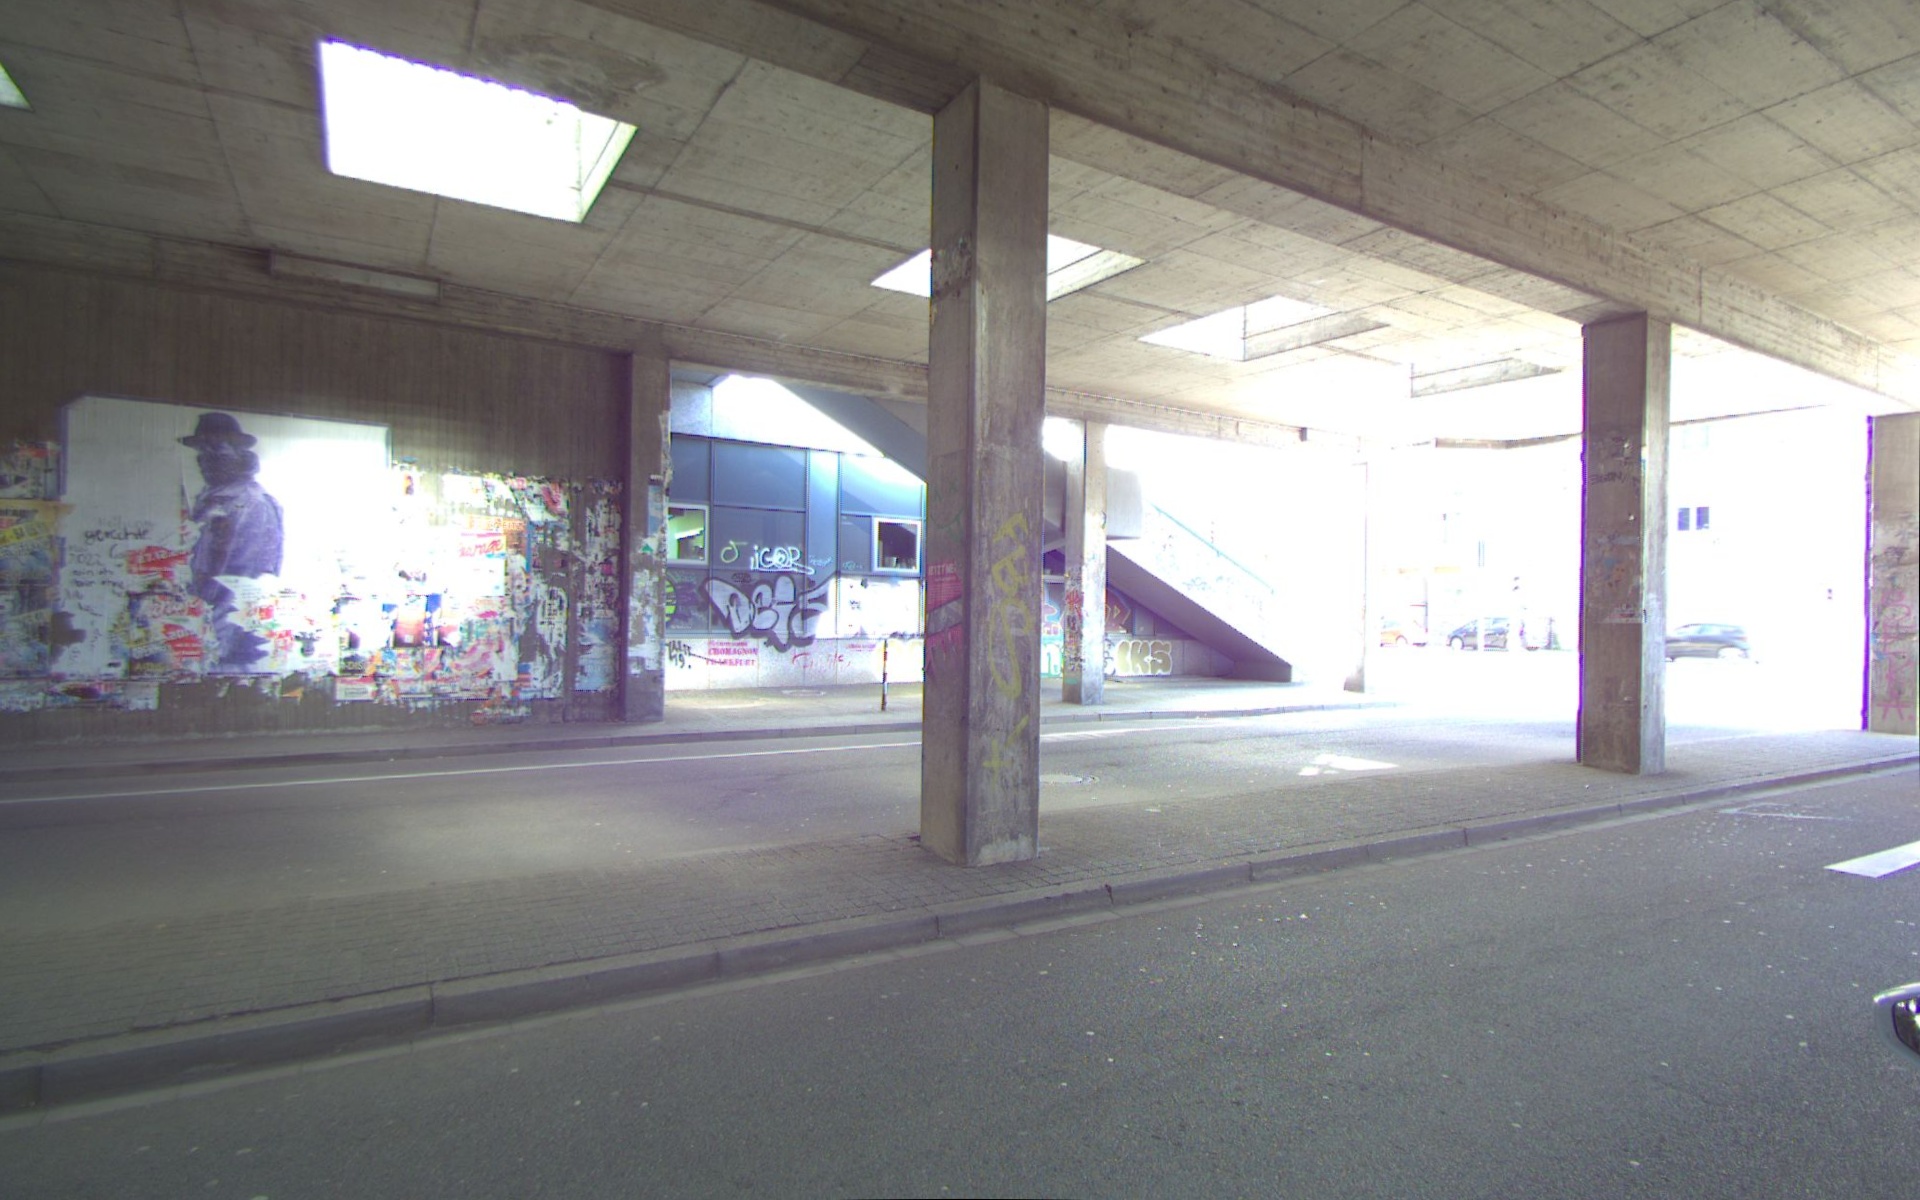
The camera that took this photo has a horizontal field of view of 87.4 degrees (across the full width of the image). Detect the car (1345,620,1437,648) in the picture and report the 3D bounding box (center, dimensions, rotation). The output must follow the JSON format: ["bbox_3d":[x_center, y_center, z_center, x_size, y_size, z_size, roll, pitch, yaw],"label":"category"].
[{"bbox_3d":[22.546,1.760,52.697,2.163,1.392,3.971,1,-1,-28],"label":"car"}]

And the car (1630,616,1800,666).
[{"bbox_3d":[25.951,1.361,34.718,1.857,1.572,4.373,1,-1,-24],"label":"car"}]

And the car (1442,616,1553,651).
[{"bbox_3d":[25.467,1.572,47.686,2.240,1.571,4.111,1,-1,-29],"label":"car"}]
